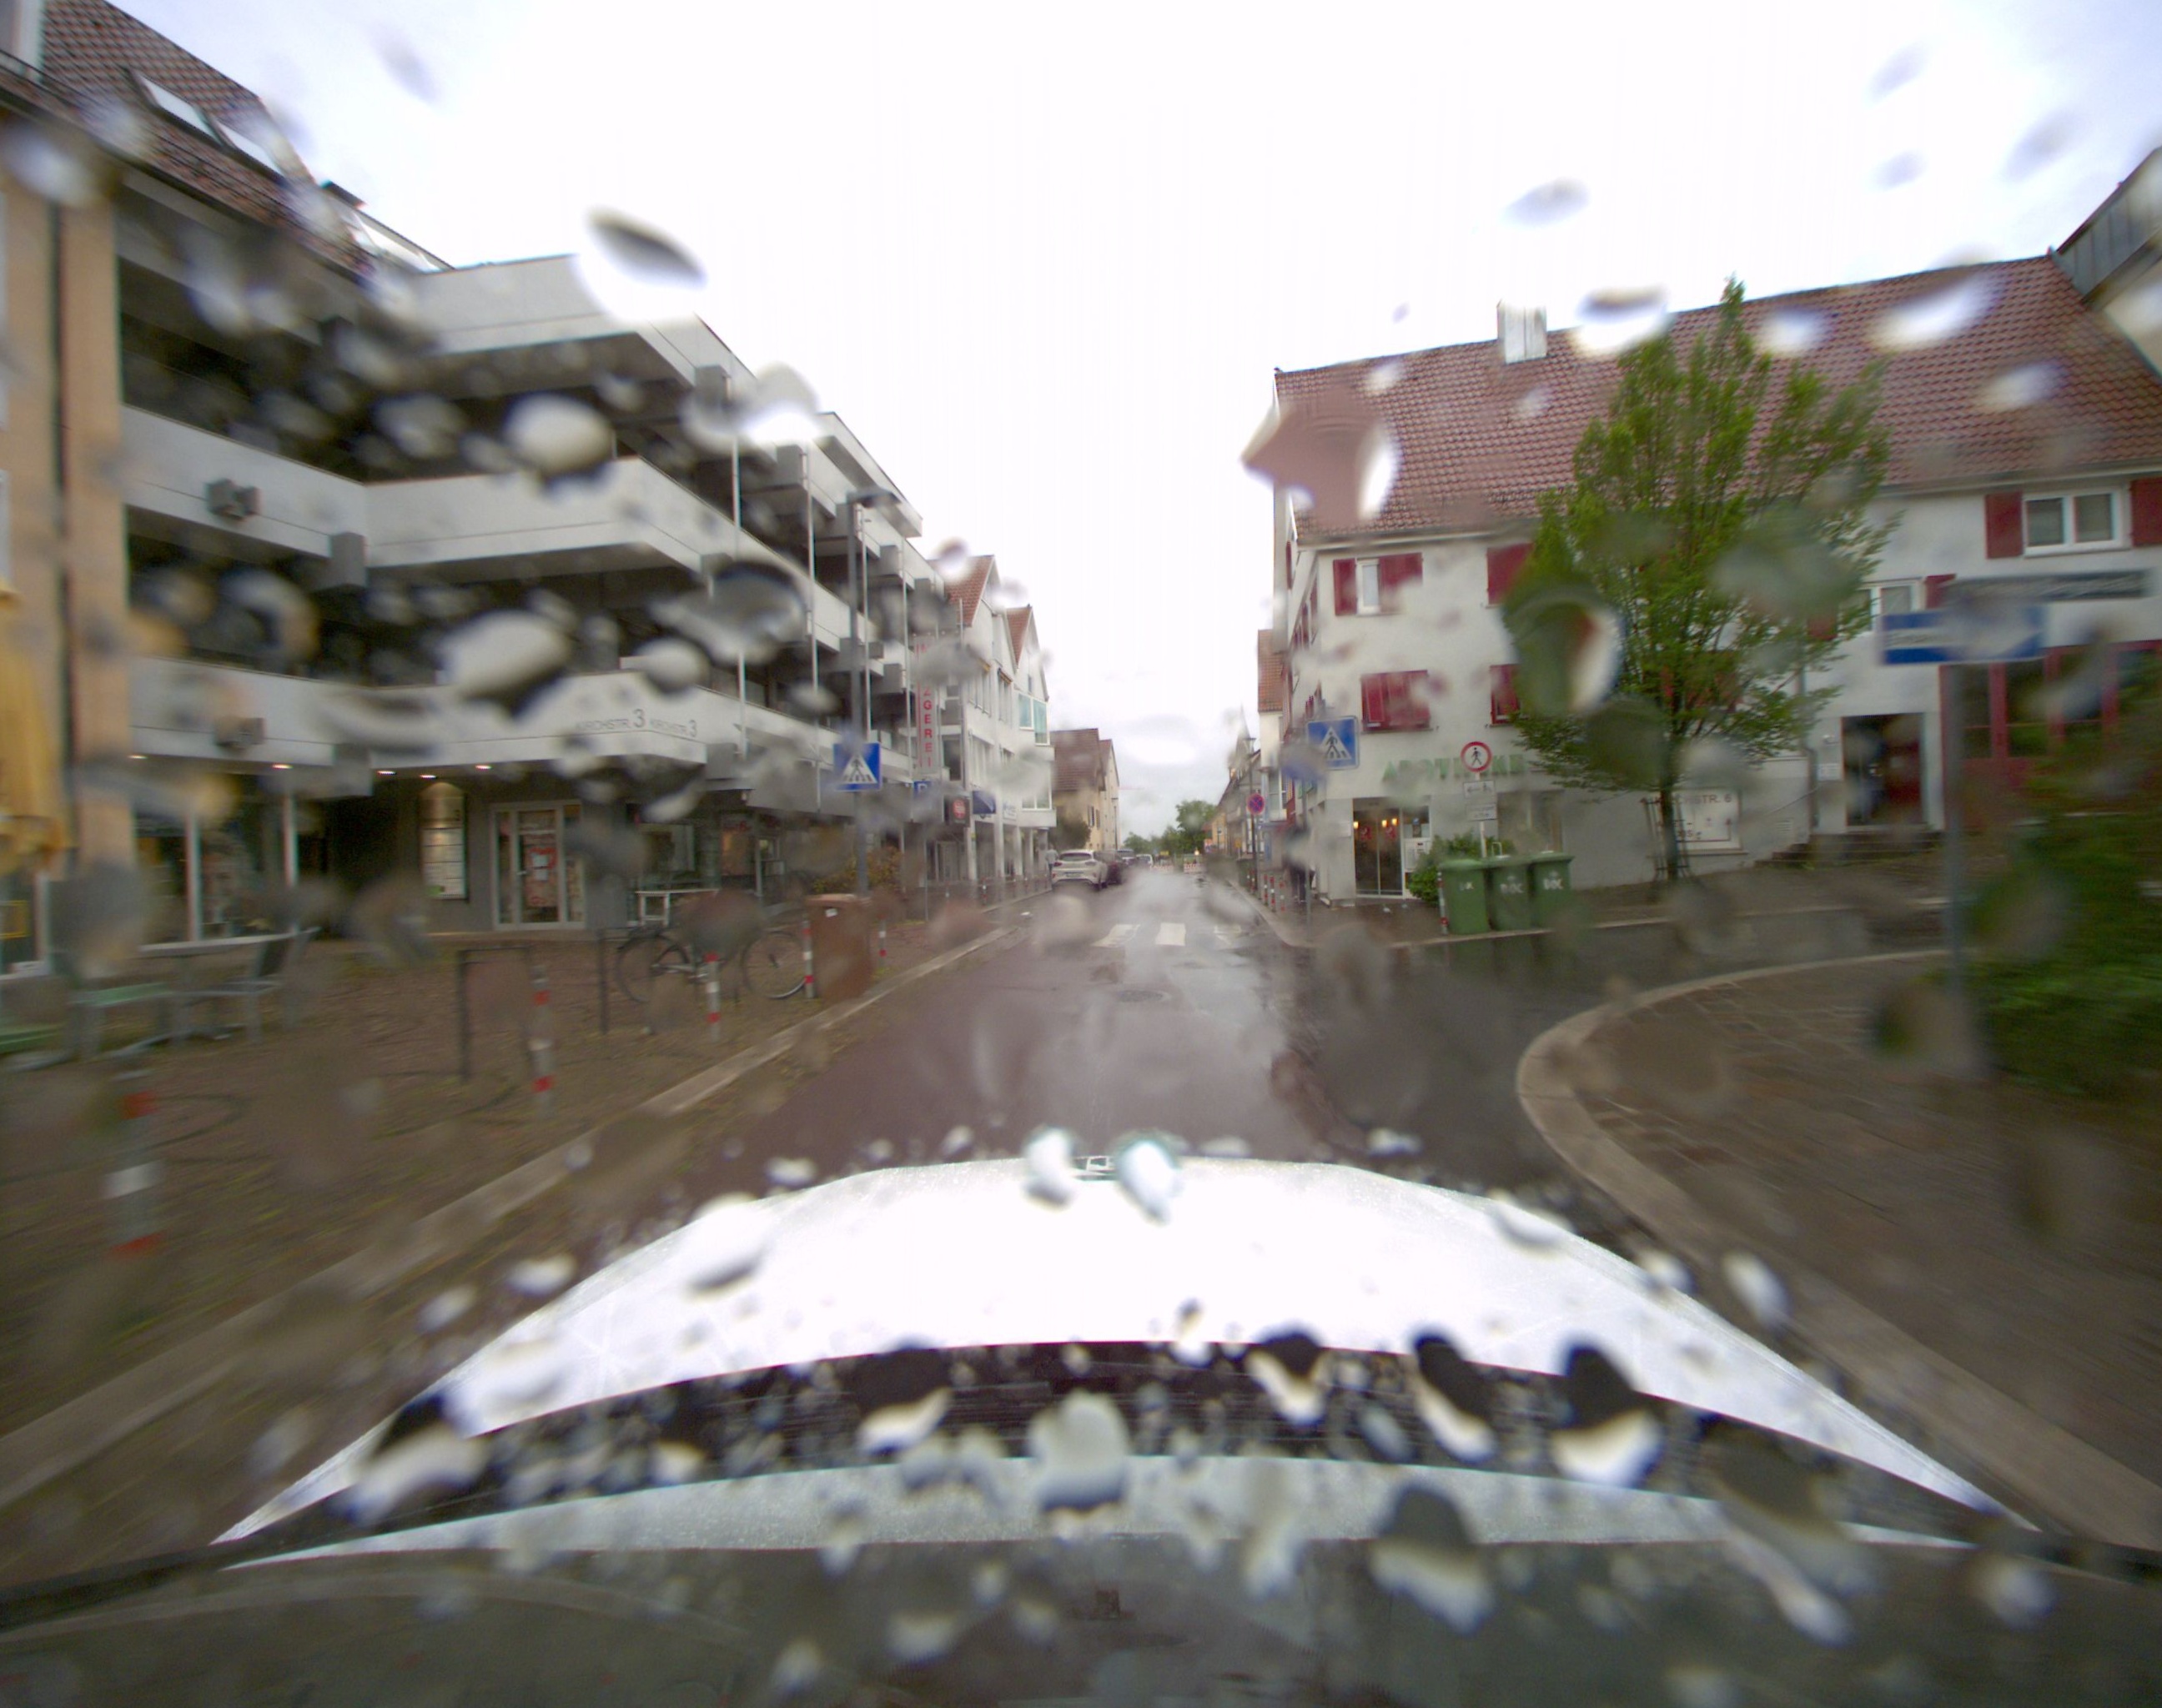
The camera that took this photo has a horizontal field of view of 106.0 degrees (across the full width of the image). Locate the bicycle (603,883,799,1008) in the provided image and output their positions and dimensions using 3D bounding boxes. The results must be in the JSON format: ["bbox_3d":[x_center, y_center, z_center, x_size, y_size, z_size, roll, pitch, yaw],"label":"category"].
[{"bbox_3d":[-3.843,0.905,8.328,1.747,1.164,0.442,-1,-2,-12],"label":"bicycle"}]

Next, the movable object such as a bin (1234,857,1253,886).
[{"bbox_3d":[6.309,0.688,31.581,0.672,1.084,0.699,-2,-1,9],"label":"movable object such as a bin"}]

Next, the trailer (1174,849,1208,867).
[{"bbox_3d":[19.582,0.751,144.857,5.758,2.948,2.001,-2,-2,2],"label":"trailer"}]

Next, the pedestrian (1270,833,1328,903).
[{"bbox_3d":[5.627,0.356,21.109,1.172,1.697,1.179,-3,-1,5],"label":"pedestrian"}]

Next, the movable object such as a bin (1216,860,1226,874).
[{"bbox_3d":[10.939,1.035,63.523,0.675,1.097,0.651,-1,-2,4],"label":"movable object such as a bin"}]

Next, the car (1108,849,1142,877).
[{"bbox_3d":[2.702,0.605,49.246,1.771,1.569,4.415,-2,-2,6],"label":"car"}]

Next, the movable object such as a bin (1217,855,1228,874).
[{"bbox_3d":[9.598,0.728,55.226,0.633,1.290,0.634,-2,-2,12],"label":"movable object such as a bin"}]

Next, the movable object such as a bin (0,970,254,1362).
[{"bbox_3d":[-3.429,0.962,2.690,0.684,1.039,0.669,-1,0,-1],"label":"movable object such as a bin"}]

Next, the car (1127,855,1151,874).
[{"bbox_3d":[4.463,0.829,62.418,1.673,1.389,3.829,-2,-2,4],"label":"car"}]

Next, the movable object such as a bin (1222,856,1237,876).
[{"bbox_3d":[8.460,0.690,46.437,0.800,1.131,0.864,-2,-2,6],"label":"movable object such as a bin"}]

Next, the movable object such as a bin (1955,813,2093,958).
[{"bbox_3d":[7.298,0.239,6.331,0.508,1.056,0.629,-5,-3,37],"label":"movable object such as a bin"}]

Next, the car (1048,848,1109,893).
[{"bbox_3d":[-0.028,0.575,30.609,1.781,1.551,4.009,0,1,7],"label":"car"}]

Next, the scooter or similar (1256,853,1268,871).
[{"bbox_3d":[11.362,0.512,51.133,0.660,1.146,1.451,-2,-2,15],"label":"scooter or similar"}]

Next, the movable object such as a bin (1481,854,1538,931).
[{"bbox_3d":[6.192,0.549,11.783,0.498,1.056,0.550,-4,-2,7],"label":"movable object such as a bin"}]

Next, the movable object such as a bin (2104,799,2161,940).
[{"bbox_3d":[8.336,0.104,6.084,0.510,1.056,0.627,-4,-2,9],"label":"movable object such as a bin"}]

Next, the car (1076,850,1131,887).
[{"bbox_3d":[1.103,0.624,36.823,1.820,1.498,4.775,-3,0,9],"label":"car"}]

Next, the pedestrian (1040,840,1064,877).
[{"bbox_3d":[-1.448,0.224,41.020,1.029,1.806,1.119,-1,0,8],"label":"pedestrian"}]

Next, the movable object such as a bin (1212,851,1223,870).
[{"bbox_3d":[9.387,0.459,56.014,0.633,1.290,0.634,-2,-2,12],"label":"movable object such as a bin"}]

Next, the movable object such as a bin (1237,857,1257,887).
[{"bbox_3d":[6.274,0.674,30.835,0.672,1.086,0.720,-2,-1,9],"label":"movable object such as a bin"}]

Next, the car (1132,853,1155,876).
[{"bbox_3d":[5.270,0.924,68.376,1.715,1.825,4.434,-2,-2,6],"label":"car"}]

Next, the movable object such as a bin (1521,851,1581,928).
[{"bbox_3d":[6.751,0.502,11.719,0.498,1.056,0.550,-4,-2,7],"label":"movable object such as a bin"}]

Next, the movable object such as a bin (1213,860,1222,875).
[{"bbox_3d":[11.096,1.097,65.997,0.633,1.147,0.605,-2,-2,12],"label":"movable object such as a bin"}]

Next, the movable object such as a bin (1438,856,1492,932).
[{"bbox_3d":[5.573,0.580,11.852,0.498,1.056,0.550,-4,-2,7],"label":"movable object such as a bin"}]

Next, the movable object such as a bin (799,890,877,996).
[{"bbox_3d":[-2.541,0.910,8.584,0.686,1.020,0.630,-1,0,-10],"label":"movable object such as a bin"}]
